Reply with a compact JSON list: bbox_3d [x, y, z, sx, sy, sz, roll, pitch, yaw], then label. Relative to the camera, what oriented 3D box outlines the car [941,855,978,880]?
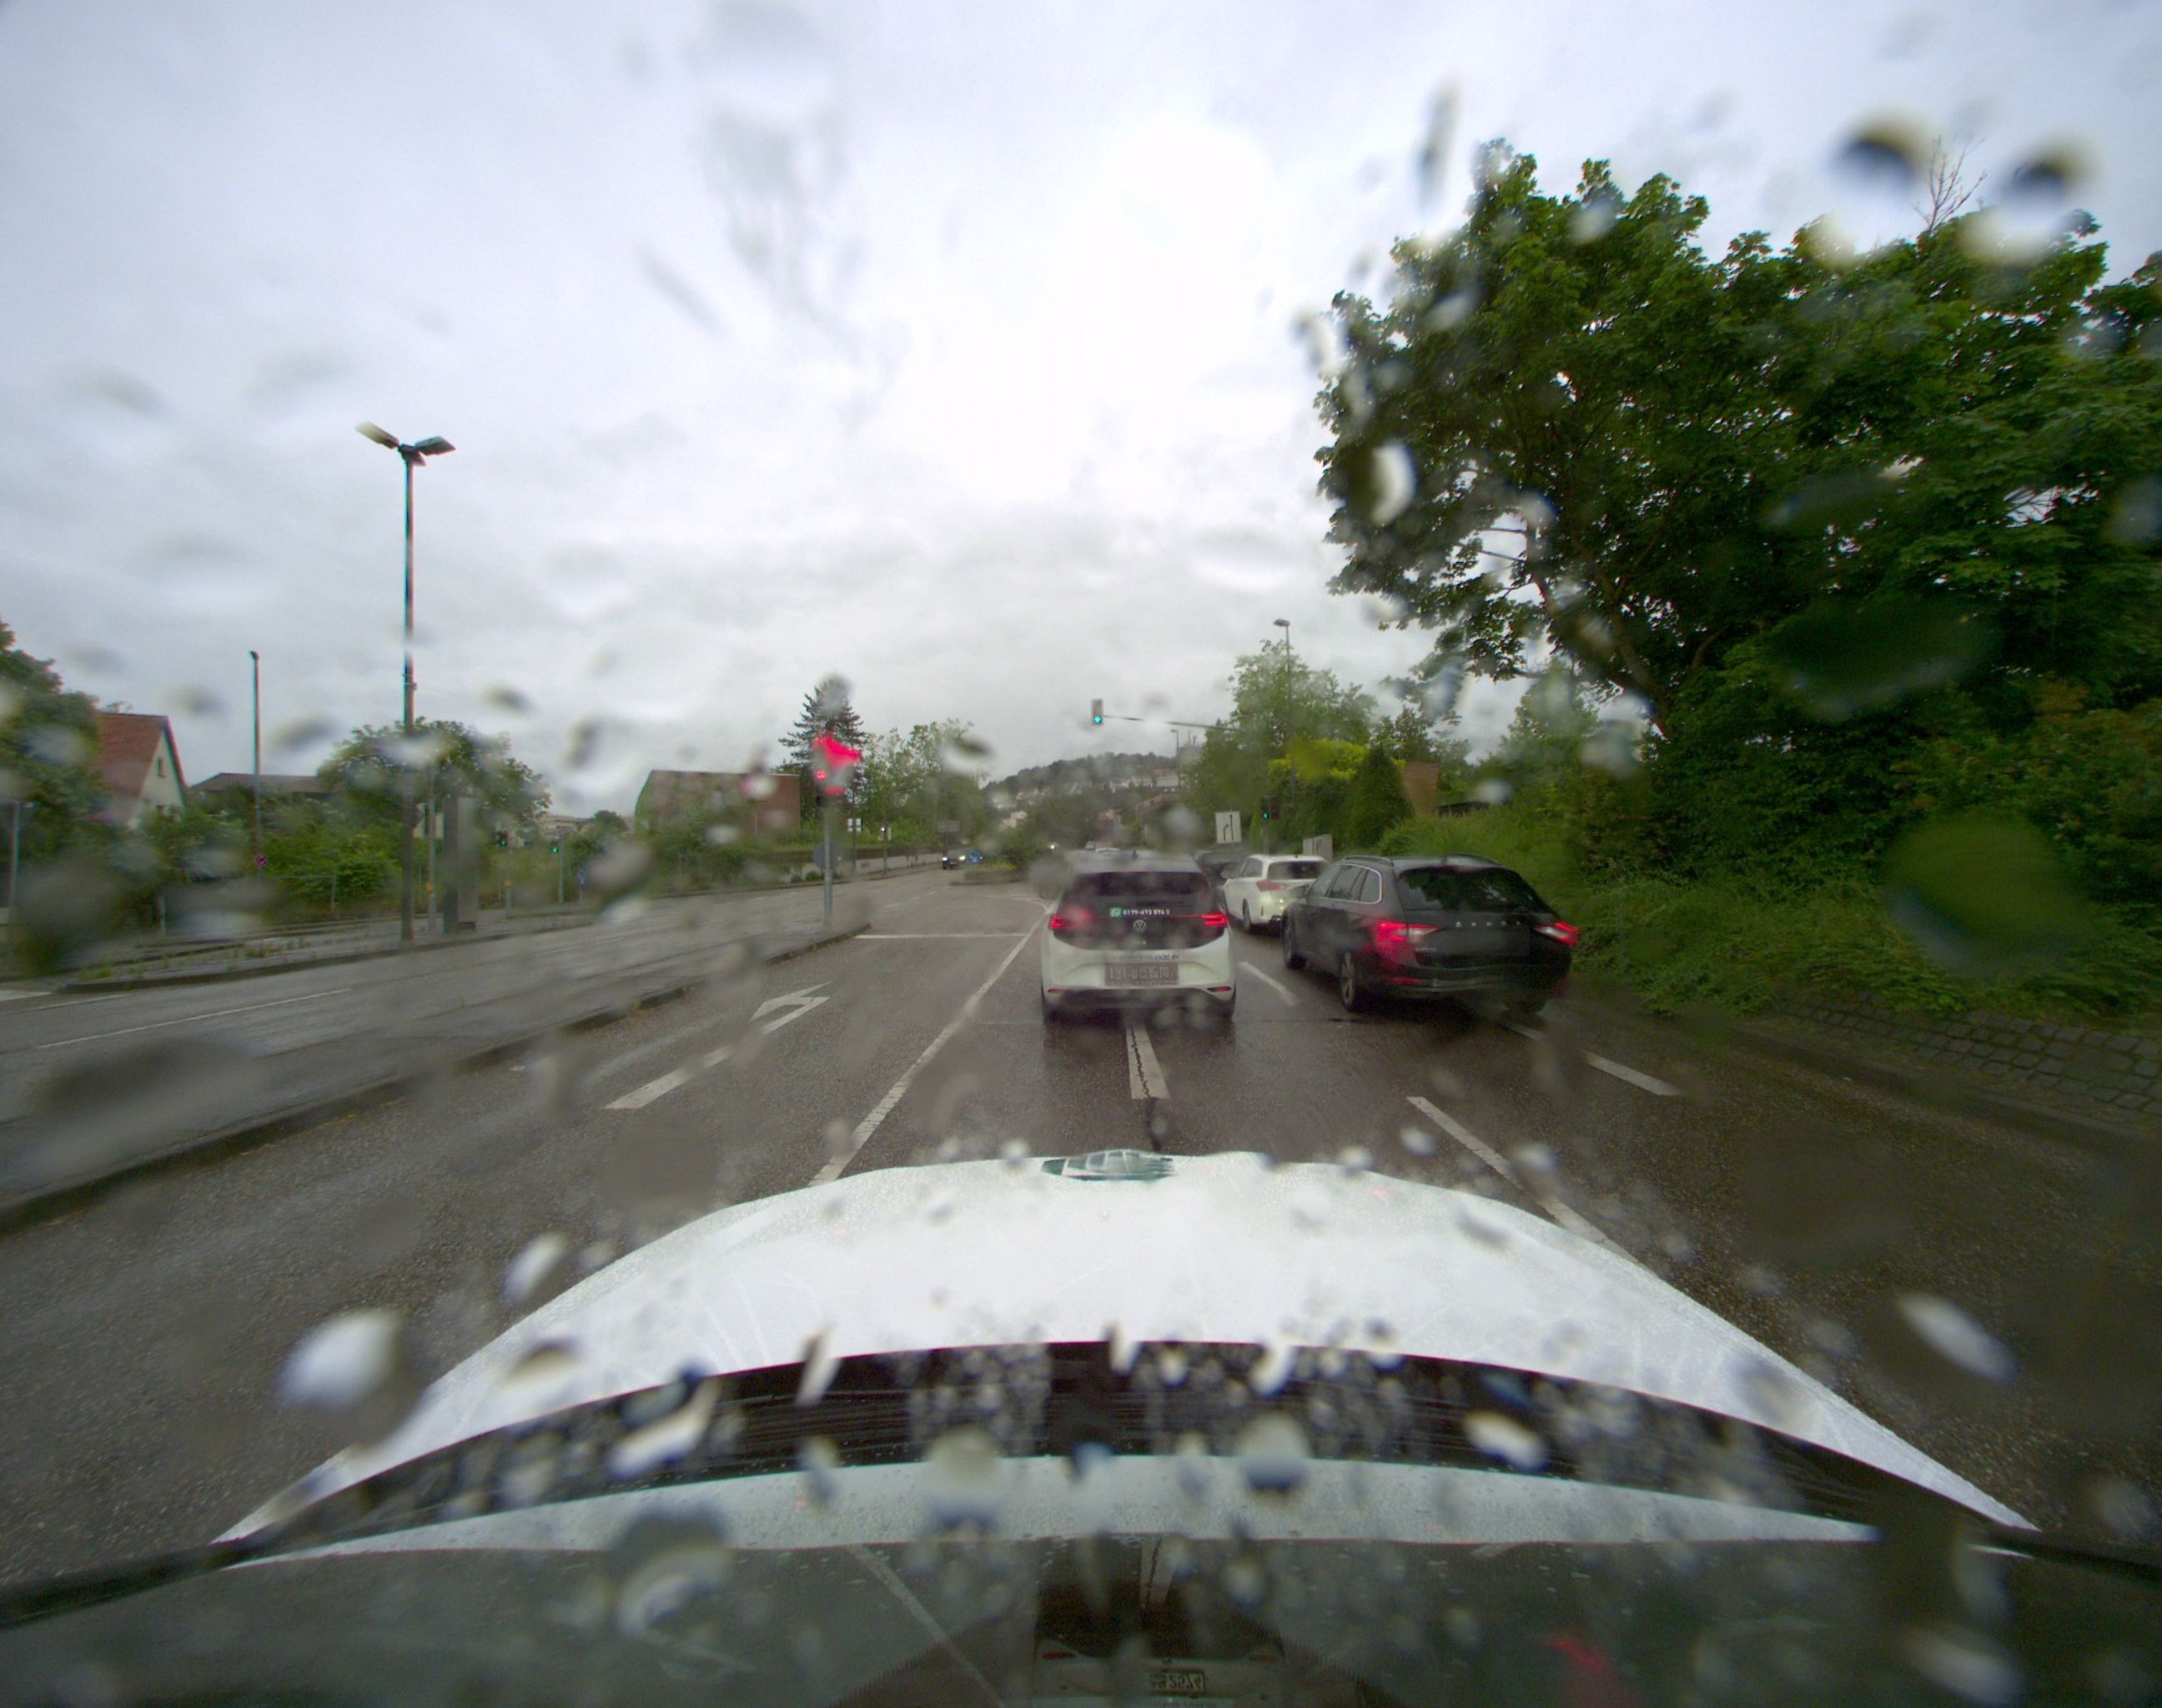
[{"bbox_3d":[-9.410,1.013,63.425,1.986,1.804,4.002,-4,0,2],"label":"car"}]

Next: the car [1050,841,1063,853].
[{"bbox_3d":[-4.177,-1.242,140.703,1.986,2.014,4.002,-1,-1,2],"label":"car"}]

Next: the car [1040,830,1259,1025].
[{"bbox_3d":[0.622,0.598,9.104,1.831,1.629,4.617,0,0,1],"label":"car"}]

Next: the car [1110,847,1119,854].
[{"bbox_3d":[7.150,-0.784,174.729,1.755,1.418,3.748,-3,0,0],"label":"car"}]

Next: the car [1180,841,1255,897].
[{"bbox_3d":[4.112,0.429,25.075,1.769,1.581,4.002,0,0,2],"label":"car"}]

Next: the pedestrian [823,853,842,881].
[{"bbox_3d":[-14.445,0.732,47.305,0.757,1.568,0.825,-4,0,1],"label":"pedestrian"}]

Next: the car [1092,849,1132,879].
[{"bbox_3d":[1.453,0.436,39.337,1.831,1.400,3.832,0,0,1],"label":"car"}]

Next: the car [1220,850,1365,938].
[{"bbox_3d":[3.919,0.662,15.795,1.831,1.466,4.118,0,0,1],"label":"car"}]

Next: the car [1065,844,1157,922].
[{"bbox_3d":[0.652,0.571,18.363,1.831,1.555,4.176,0,0,1],"label":"car"}]

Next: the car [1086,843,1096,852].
[{"bbox_3d":[1.658,-1.059,139.022,1.575,1.467,4.000,-3,-1,1],"label":"car"}]

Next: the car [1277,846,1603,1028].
[{"bbox_3d":[3.432,0.659,8.787,1.830,1.466,4.353,0,0,3],"label":"car"}]
